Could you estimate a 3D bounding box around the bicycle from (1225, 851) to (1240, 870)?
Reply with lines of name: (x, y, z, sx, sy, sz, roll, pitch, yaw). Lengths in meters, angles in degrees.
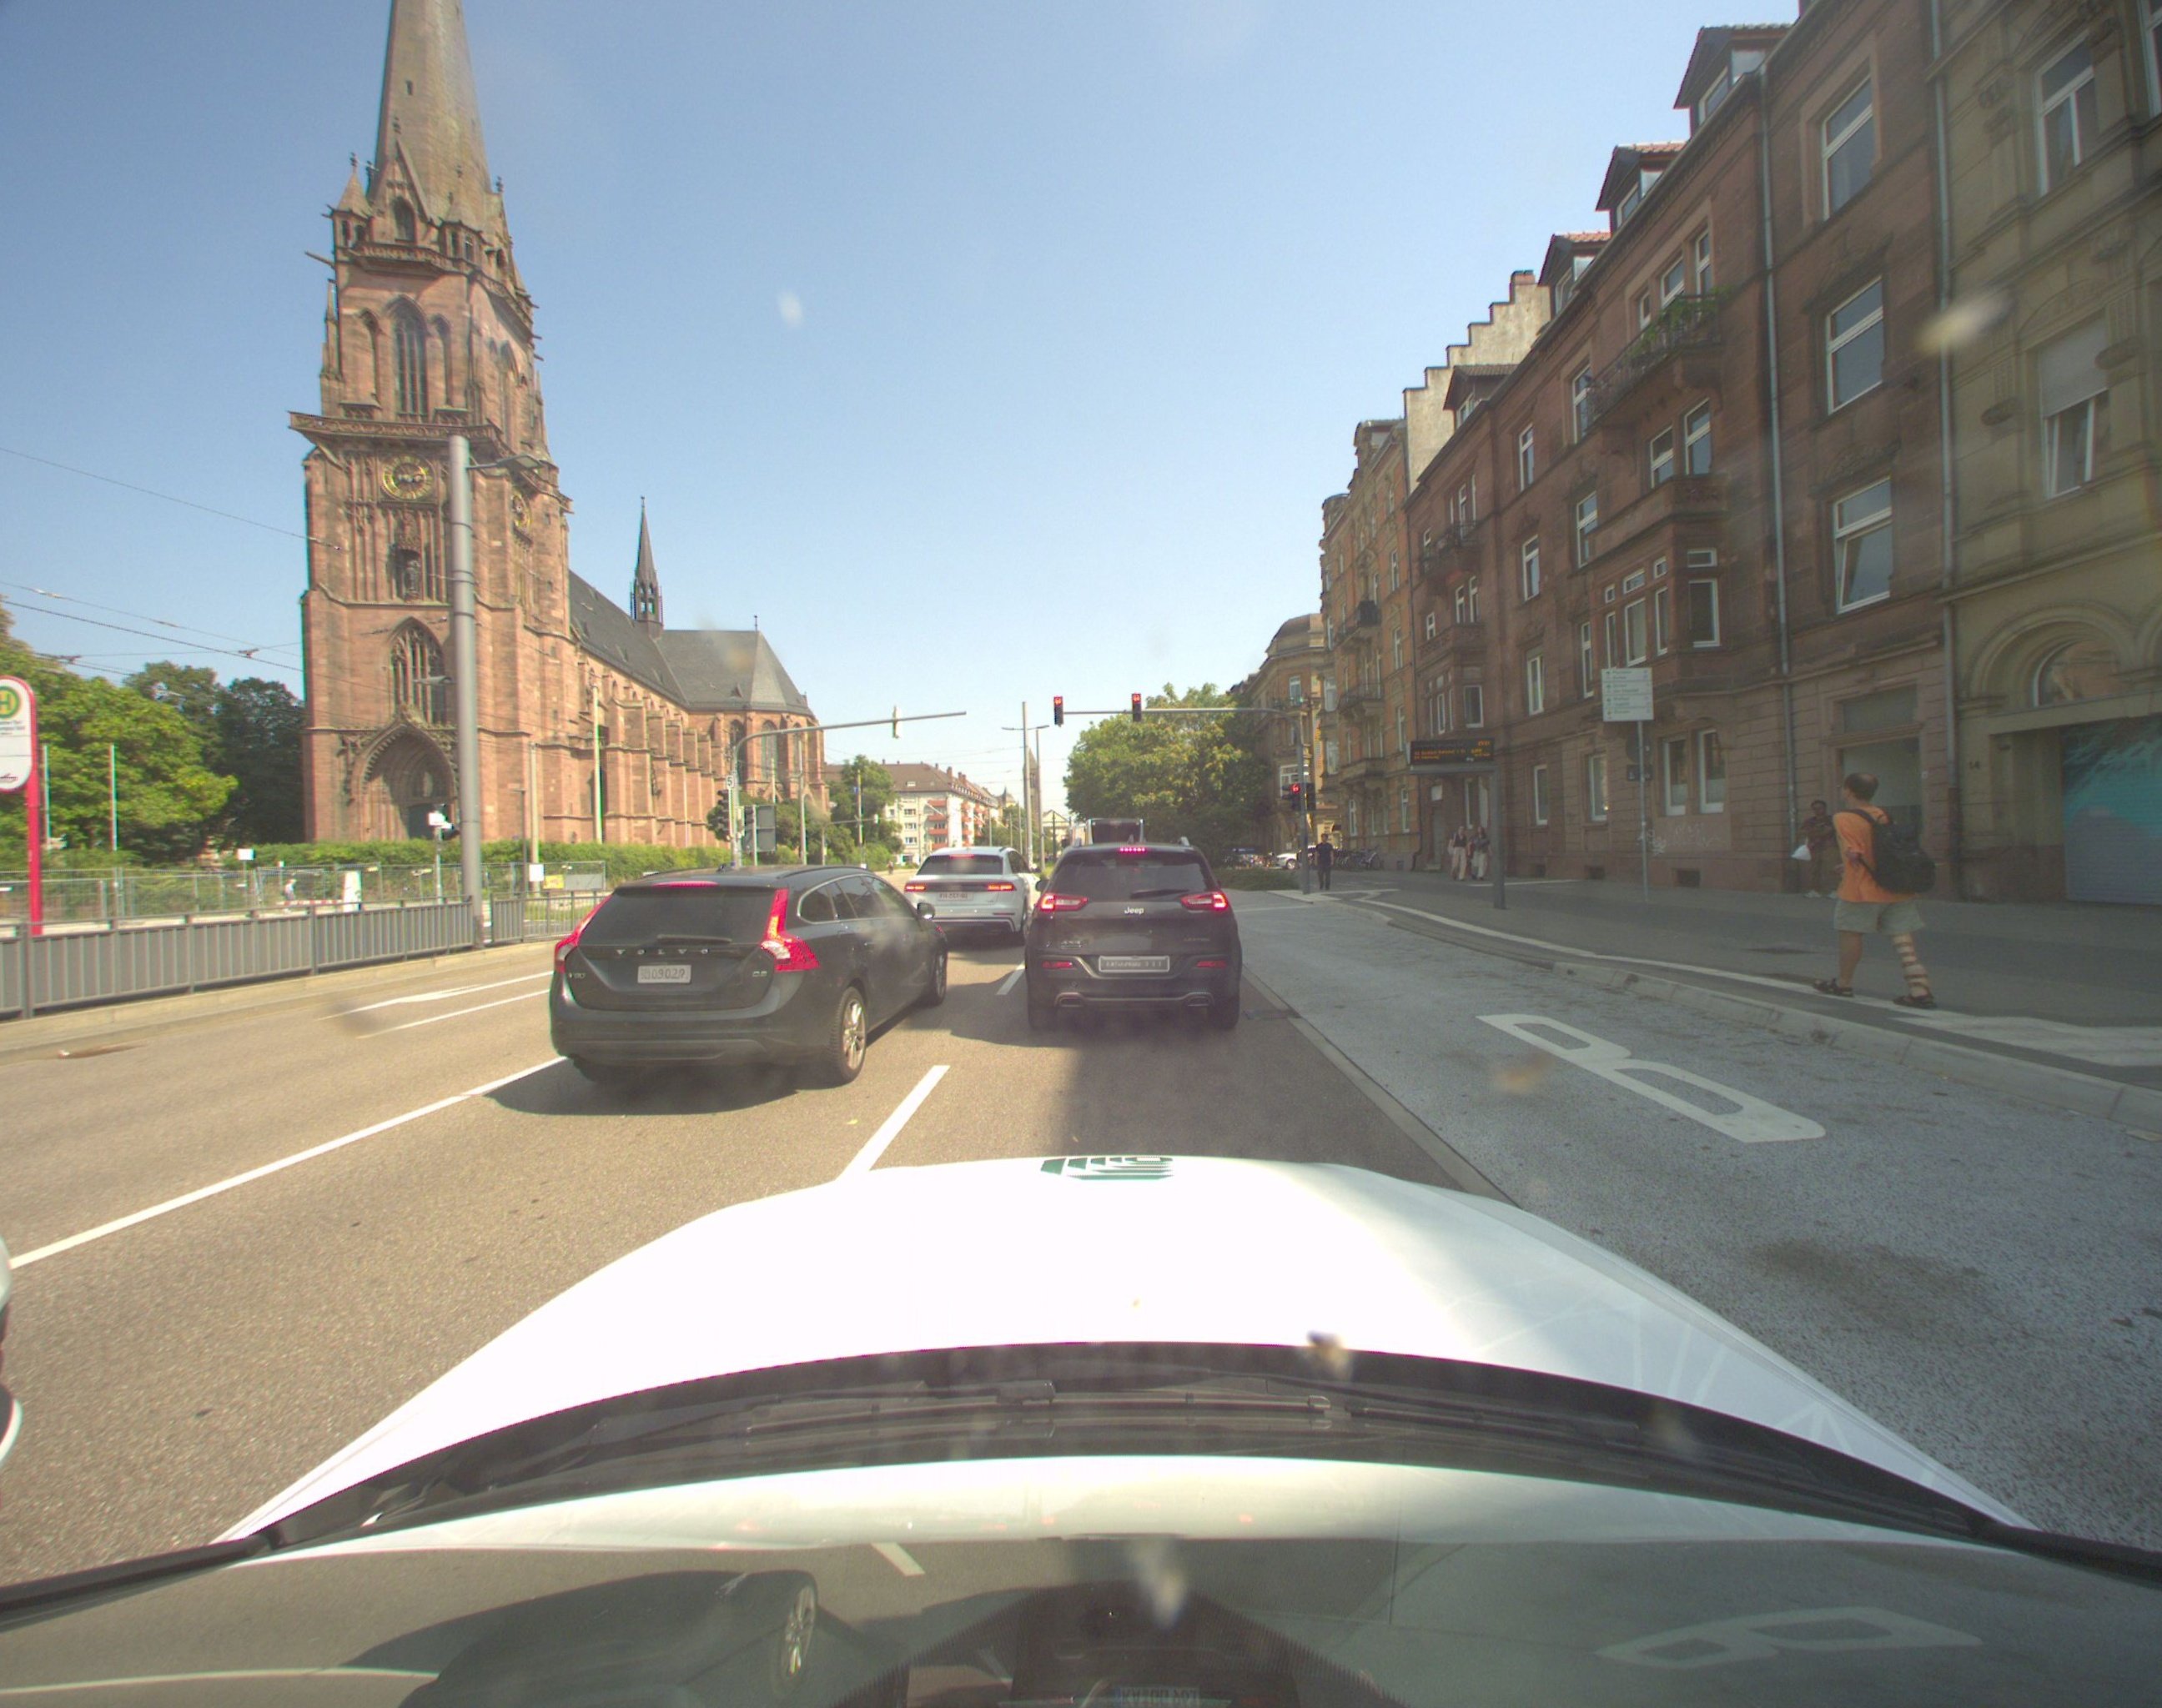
bicycle: (10.846, 0.444, 58.374, 0.646, 1.253, 3.017, -2, 0, 4)

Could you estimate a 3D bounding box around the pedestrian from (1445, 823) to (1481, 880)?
pedestrian: (12.159, -0.073, 25.929, 0.711, 1.776, 0.848, -2, 0, 1)

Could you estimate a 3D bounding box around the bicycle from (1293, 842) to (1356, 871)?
bicycle: (12.735, 0.111, 42.650, 2.993, 1.373, 0.948, -2, 0, 1)

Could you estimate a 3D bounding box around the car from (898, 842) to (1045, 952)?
car: (-1.788, 0.655, 14.685, 1.895, 1.651, 4.310, -1, 0, 2)

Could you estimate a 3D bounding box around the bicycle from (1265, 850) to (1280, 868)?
bicycle: (13.800, 0.322, 58.726, 0.655, 1.249, 2.415, -2, 0, 4)

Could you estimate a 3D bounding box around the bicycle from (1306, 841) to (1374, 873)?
bicycle: (12.602, 0.146, 39.665, 2.983, 1.371, 0.871, -2, 0, 1)

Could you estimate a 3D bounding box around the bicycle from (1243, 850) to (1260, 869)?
bicycle: (12.199, 0.388, 58.316, 0.729, 1.253, 3.017, -2, 0, 4)

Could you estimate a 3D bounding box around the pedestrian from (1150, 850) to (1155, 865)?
pedestrian: (9.733, 0.430, 110.891, 0.526, 2.013, 0.532, -2, 0, 0)

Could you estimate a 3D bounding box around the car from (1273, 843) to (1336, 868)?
car: (15.692, 0.098, 57.264, 3.926, 1.521, 1.679, -2, 0, -6)

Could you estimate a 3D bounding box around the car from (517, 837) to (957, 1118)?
car: (-2.327, 0.713, 6.882, 1.741, 1.614, 4.310, -1, 0, 2)

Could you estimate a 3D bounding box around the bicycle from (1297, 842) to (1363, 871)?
bicycle: (12.687, 0.118, 41.556, 2.993, 1.373, 0.948, -2, 0, 1)

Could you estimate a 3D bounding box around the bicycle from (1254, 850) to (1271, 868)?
bicycle: (12.985, 0.355, 58.311, 0.759, 1.253, 3.017, -2, 0, 4)

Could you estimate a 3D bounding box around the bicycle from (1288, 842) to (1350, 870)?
bicycle: (12.729, 0.106, 43.661, 2.993, 1.373, 0.948, -2, 0, 1)

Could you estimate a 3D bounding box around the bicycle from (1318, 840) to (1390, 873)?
bicycle: (12.674, 0.115, 37.843, 2.983, 1.371, 0.871, -2, 0, 1)

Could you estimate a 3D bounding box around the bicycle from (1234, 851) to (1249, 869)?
bicycle: (11.503, 0.414, 58.334, 0.646, 1.253, 3.017, -2, 0, 4)

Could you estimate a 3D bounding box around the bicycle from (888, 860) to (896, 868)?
bicycle: (-22.680, 1.172, 97.542, 0.451, 0.859, 1.478, -2, 0, 6)

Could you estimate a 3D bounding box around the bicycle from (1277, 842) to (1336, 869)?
bicycle: (12.729, 0.100, 46.022, 2.993, 1.373, 0.948, -2, 0, 1)

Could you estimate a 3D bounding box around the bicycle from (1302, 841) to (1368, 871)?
bicycle: (12.655, 0.101, 40.612, 2.983, 1.371, 0.871, -2, 0, 1)

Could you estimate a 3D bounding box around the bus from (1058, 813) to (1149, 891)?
bus: (0.813, -0.032, 40.642, 2.740, 3.106, 11.928, -5, 0, -6)

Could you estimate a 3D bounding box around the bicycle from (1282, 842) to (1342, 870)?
bicycle: (12.735, 0.116, 44.979, 2.993, 1.373, 0.948, -2, 0, 1)

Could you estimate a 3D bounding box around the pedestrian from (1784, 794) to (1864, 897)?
pedestrian: (13.272, -0.154, 14.556, 0.872, 1.778, 0.737, -2, 0, -26)

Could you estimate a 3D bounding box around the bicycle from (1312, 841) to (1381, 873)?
bicycle: (12.612, 0.160, 38.751, 2.983, 1.371, 0.871, -2, 0, 1)

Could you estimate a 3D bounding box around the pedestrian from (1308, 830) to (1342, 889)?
pedestrian: (7.534, 0.176, 25.184, 0.892, 1.741, 0.771, -4, -1, 15)

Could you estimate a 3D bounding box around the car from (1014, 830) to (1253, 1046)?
car: (0.518, 0.647, 8.453, 1.825, 1.651, 4.312, -1, 0, 3)

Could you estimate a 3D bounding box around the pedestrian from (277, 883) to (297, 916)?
pedestrian: (-37.374, 2.150, 38.339, 0.430, 1.531, 0.548, -3, 0, 36)

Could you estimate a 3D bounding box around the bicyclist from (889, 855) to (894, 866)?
bicyclist: (-22.697, 0.761, 97.536, 0.446, 1.321, 0.425, -2, 0, 5)

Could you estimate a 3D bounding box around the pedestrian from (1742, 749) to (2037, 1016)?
pedestrian: (5.823, 0.194, 5.992, 0.958, 1.741, 1.242, -2, 0, 8)

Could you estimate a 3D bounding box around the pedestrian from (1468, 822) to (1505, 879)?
pedestrian: (12.892, -0.110, 25.921, 0.712, 1.778, 0.870, -2, 0, 0)
